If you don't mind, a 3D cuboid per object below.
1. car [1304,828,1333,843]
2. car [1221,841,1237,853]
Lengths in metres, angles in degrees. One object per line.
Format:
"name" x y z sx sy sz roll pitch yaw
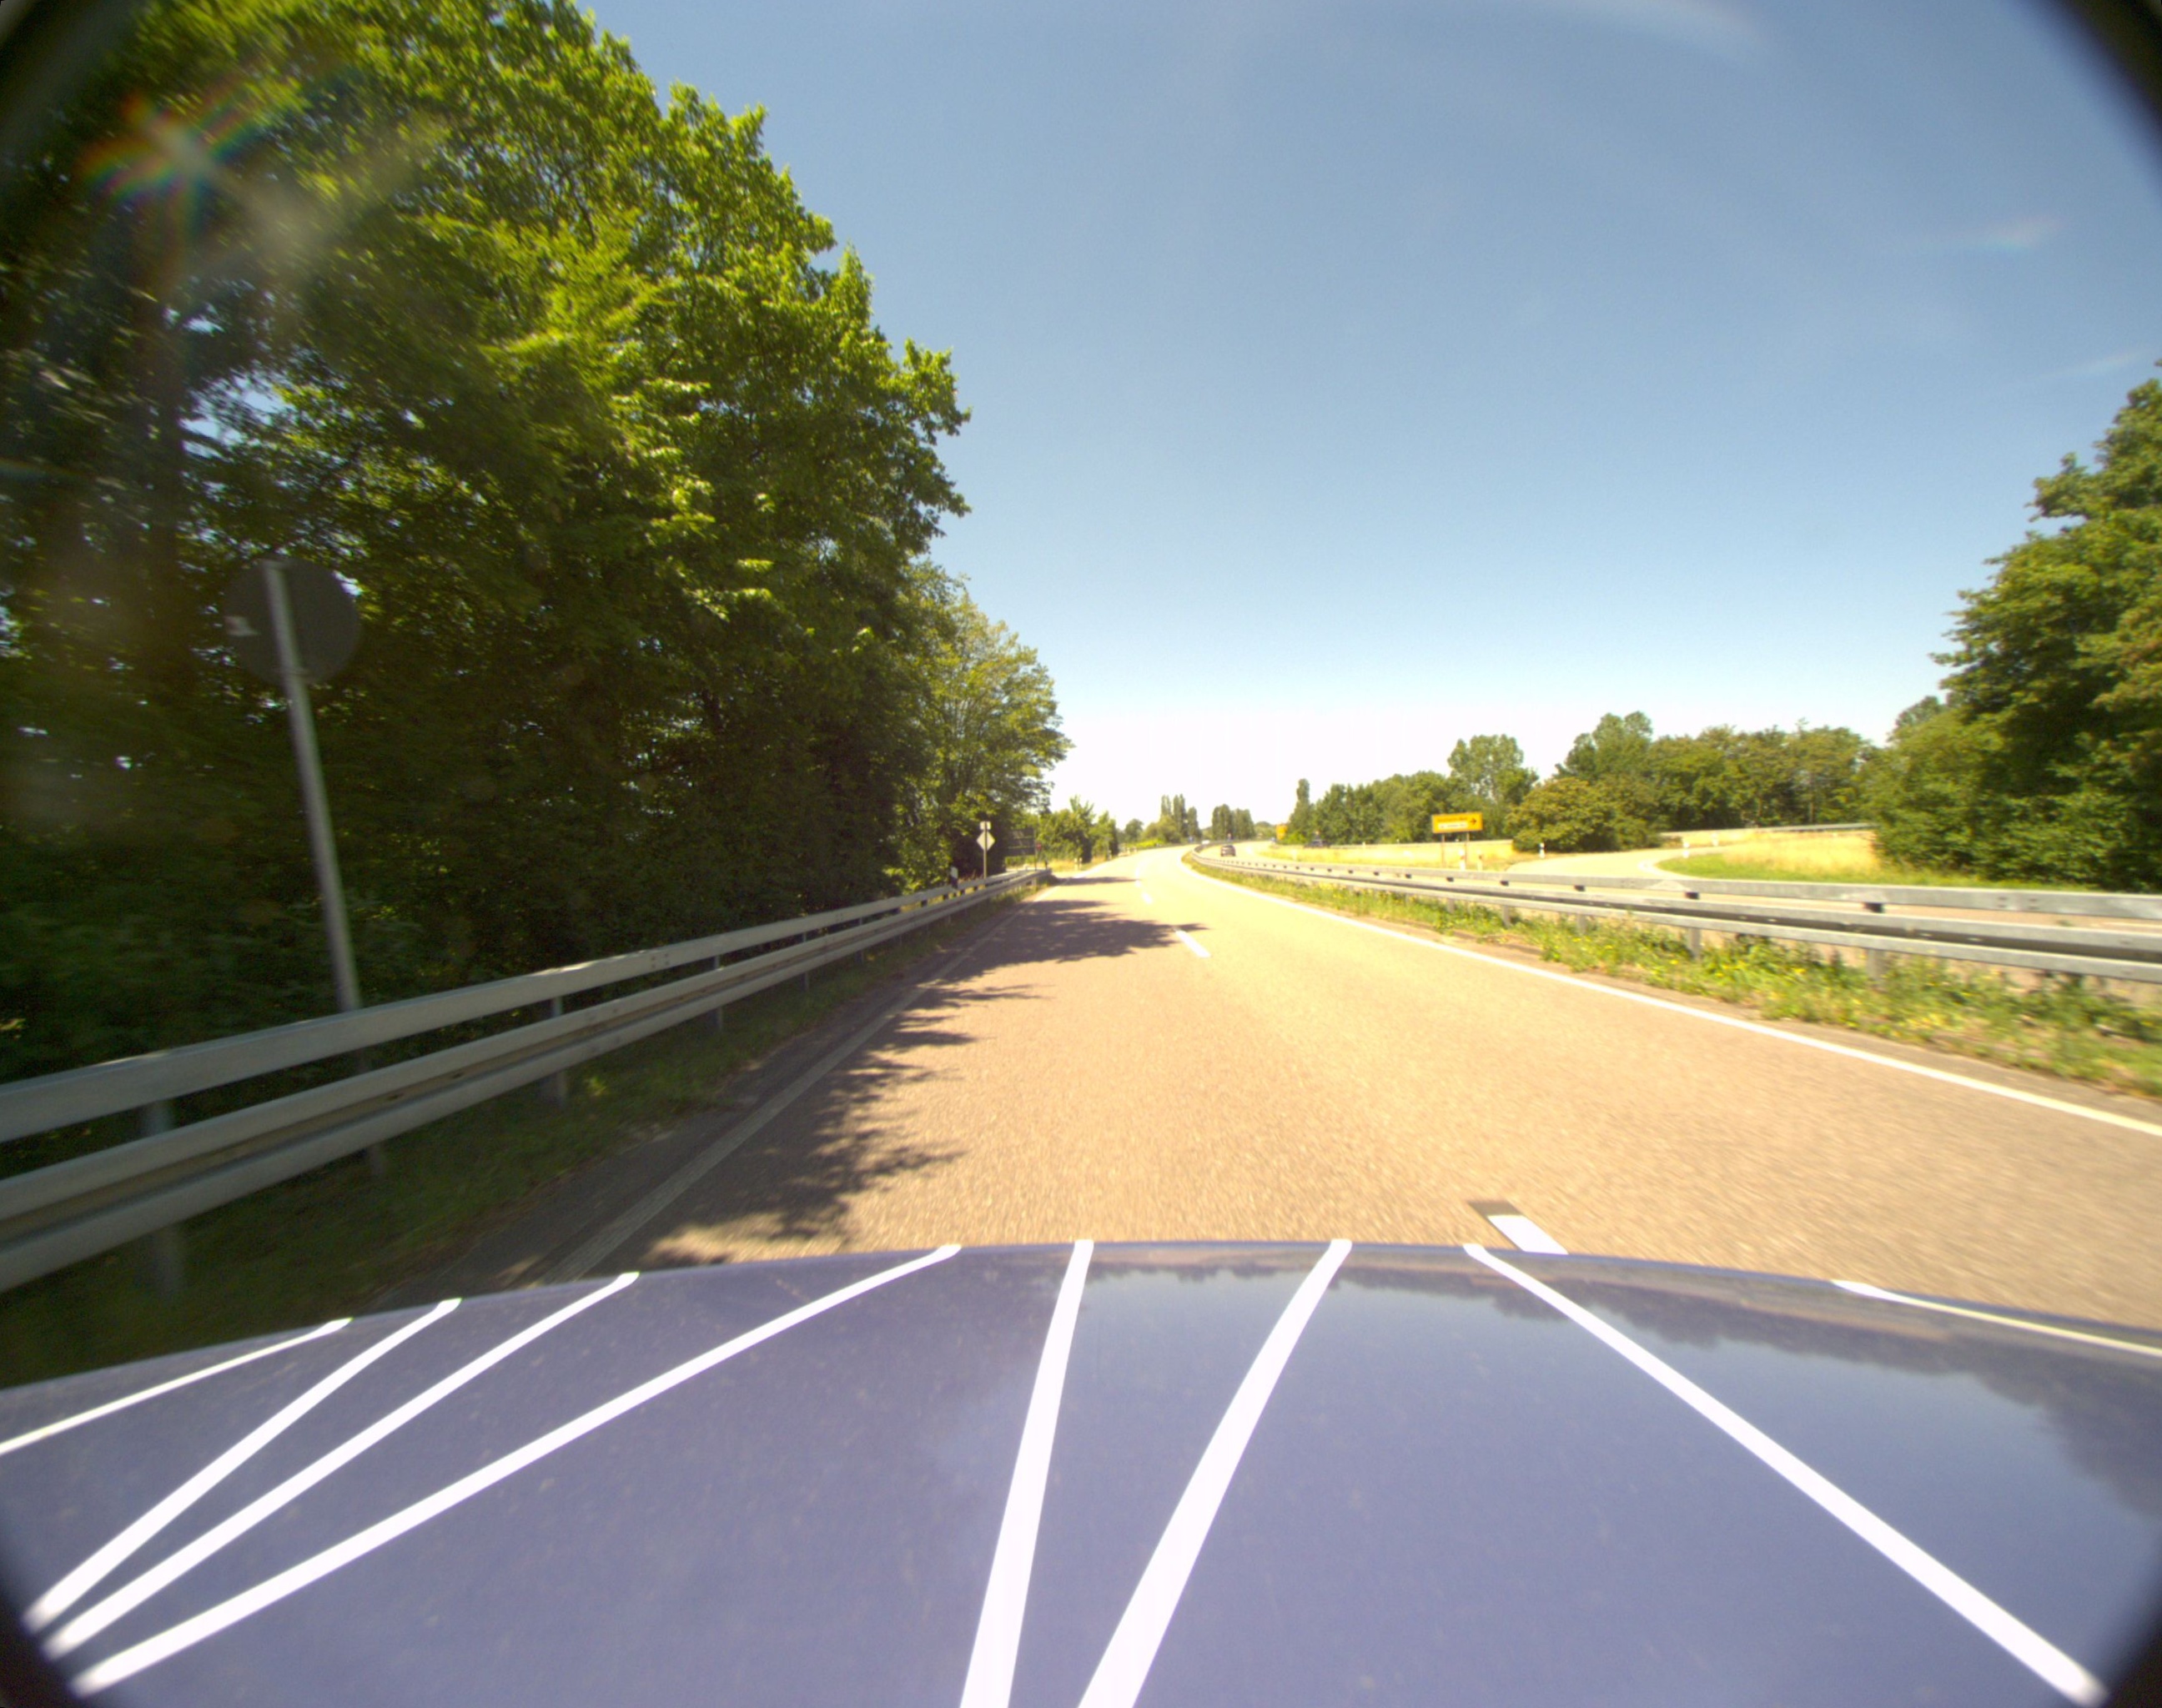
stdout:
"car" 34.979 -2.748 112.090 2.001 2.002 3.993 -5 1 -20
"car" 19.929 -0.920 102.546 1.827 1.608 4.542 -1 0 9
